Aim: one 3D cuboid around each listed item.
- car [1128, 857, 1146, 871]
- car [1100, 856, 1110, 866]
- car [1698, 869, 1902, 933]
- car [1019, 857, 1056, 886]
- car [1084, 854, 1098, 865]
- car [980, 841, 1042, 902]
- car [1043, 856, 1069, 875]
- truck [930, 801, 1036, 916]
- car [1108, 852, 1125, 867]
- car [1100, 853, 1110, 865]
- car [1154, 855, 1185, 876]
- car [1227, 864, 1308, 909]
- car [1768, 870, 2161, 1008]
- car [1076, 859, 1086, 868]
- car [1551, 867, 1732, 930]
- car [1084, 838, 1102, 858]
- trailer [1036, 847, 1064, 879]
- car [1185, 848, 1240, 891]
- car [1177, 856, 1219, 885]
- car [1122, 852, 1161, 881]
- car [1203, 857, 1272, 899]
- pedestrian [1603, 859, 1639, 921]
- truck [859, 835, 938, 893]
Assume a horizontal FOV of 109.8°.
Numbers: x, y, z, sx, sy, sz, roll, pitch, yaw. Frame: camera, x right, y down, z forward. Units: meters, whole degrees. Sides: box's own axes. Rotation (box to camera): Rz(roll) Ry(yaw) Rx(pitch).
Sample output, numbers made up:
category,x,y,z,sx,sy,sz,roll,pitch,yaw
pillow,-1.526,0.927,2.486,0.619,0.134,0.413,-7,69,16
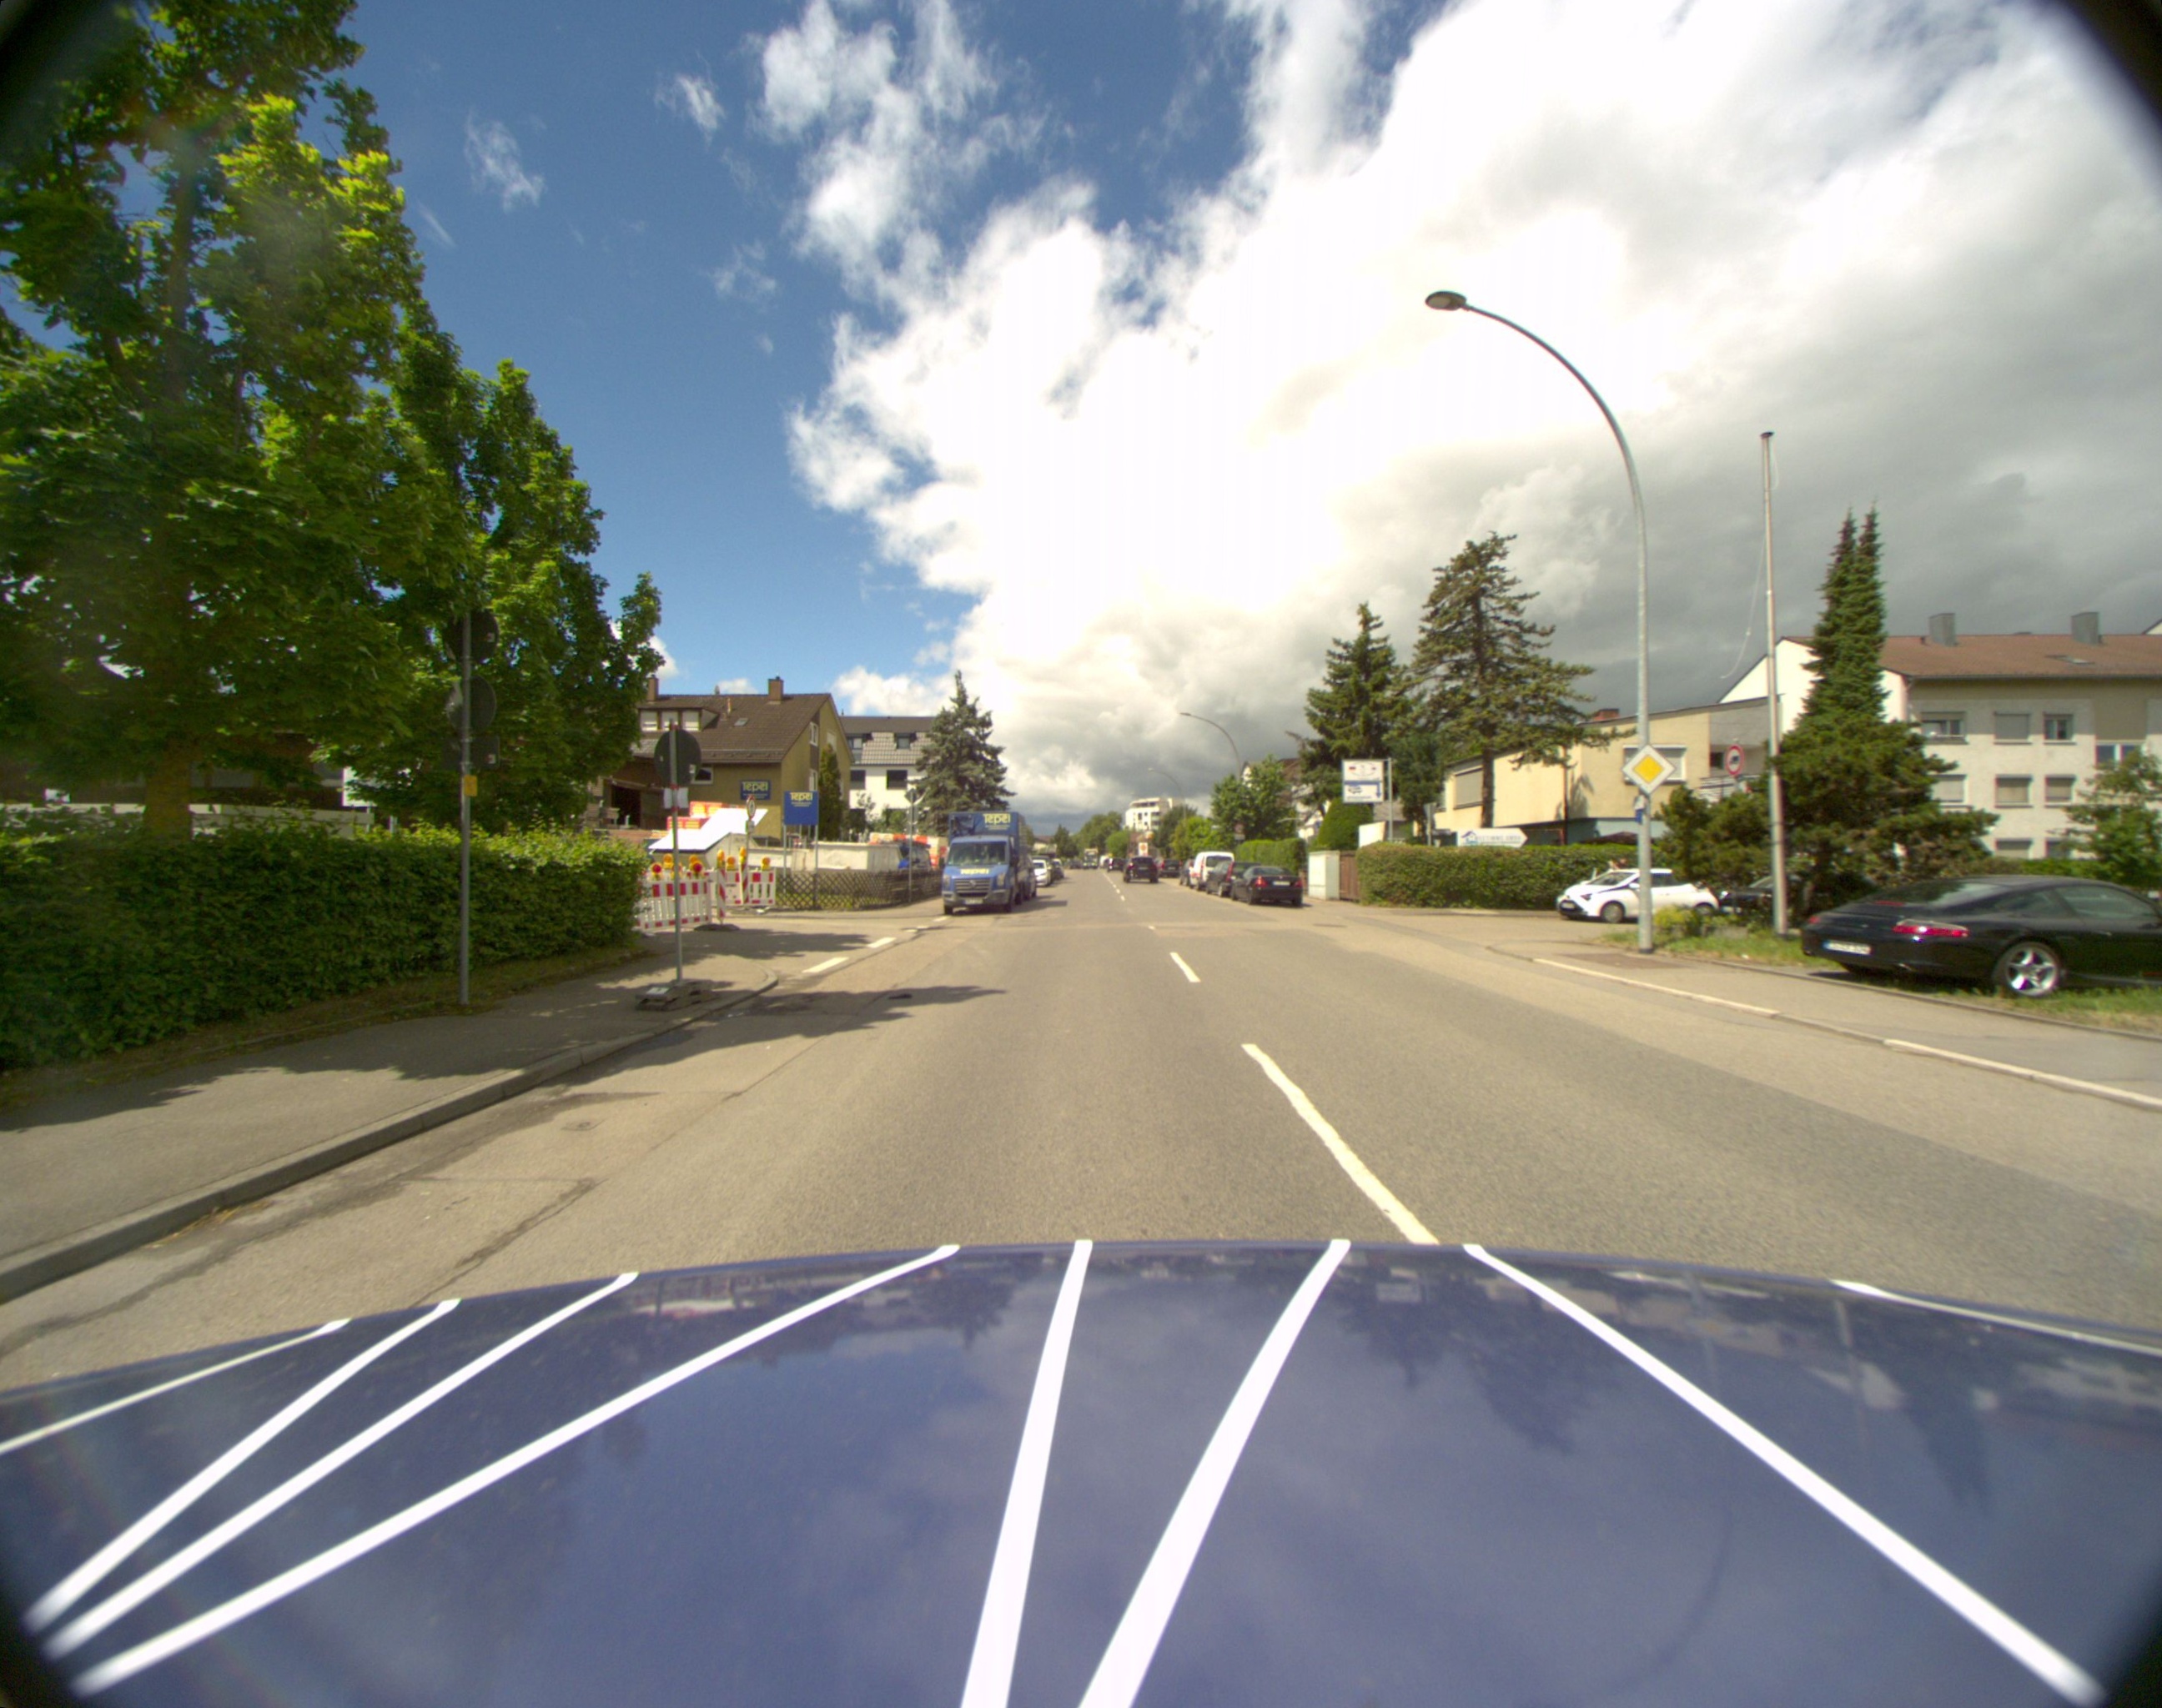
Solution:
category,x,y,z,sx,sy,sz,roll,pitch,yaw
car,7.516,1.348,101.792,1.915,1.810,5.430,3,-1,1
car,4.166,1.219,133.231,1.667,1.785,4.338,1,0,0
car,19.031,1.216,20.231,3.677,1.469,1.844,2,0,-2
car,-2.378,0.929,42.096,1.777,1.499,4.000,0,0,1
car,1.572,0.806,121.057,1.892,1.708,3.999,1,0,-3
car,-2.660,0.644,29.834,1.878,2.156,4.465,-2,0,1
car,-1.949,0.887,60.817,1.723,1.423,3.985,1,-1,3
truck,-2.875,0.151,23.945,2.326,3.078,6.043,-2,0,1
car,3.899,0.617,84.688,1.748,1.618,4.356,-1,0,0
car,5.308,1.108,166.890,1.997,2.749,6.165,1,-1,1
car,6.648,0.864,57.660,1.724,1.484,4.735,1,-1,-1
car,6.249,1.049,25.905,1.635,1.296,4.116,3,0,-1
car,10.585,0.867,8.551,3.997,1.197,1.871,-2,0,-1
car,0.036,1.676,139.661,1.789,1.548,4.317,-1,0,1
car,14.837,1.148,20.261,3.561,1.469,1.614,2,0,2
car,2.287,-1.082,147.476,3.263,3.595,10.270,-1,-1,-1
trailer,-2.155,0.631,53.616,1.777,2.132,4.114,0,0,0
car,6.170,0.730,36.168,1.748,1.827,4.356,3,0,0
car,6.415,0.884,42.031,1.644,1.478,4.000,3,0,0
car,3.609,0.742,45.778,1.998,1.606,4.411,1,0,0
car,6.174,0.920,30.495,1.748,1.463,4.644,3,0,0
pedestrian,15.297,1.002,21.530,0.630,1.724,0.685,2,1,21
truck,-7.286,0.437,30.906,1.834,2.069,5.387,3,-2,0
